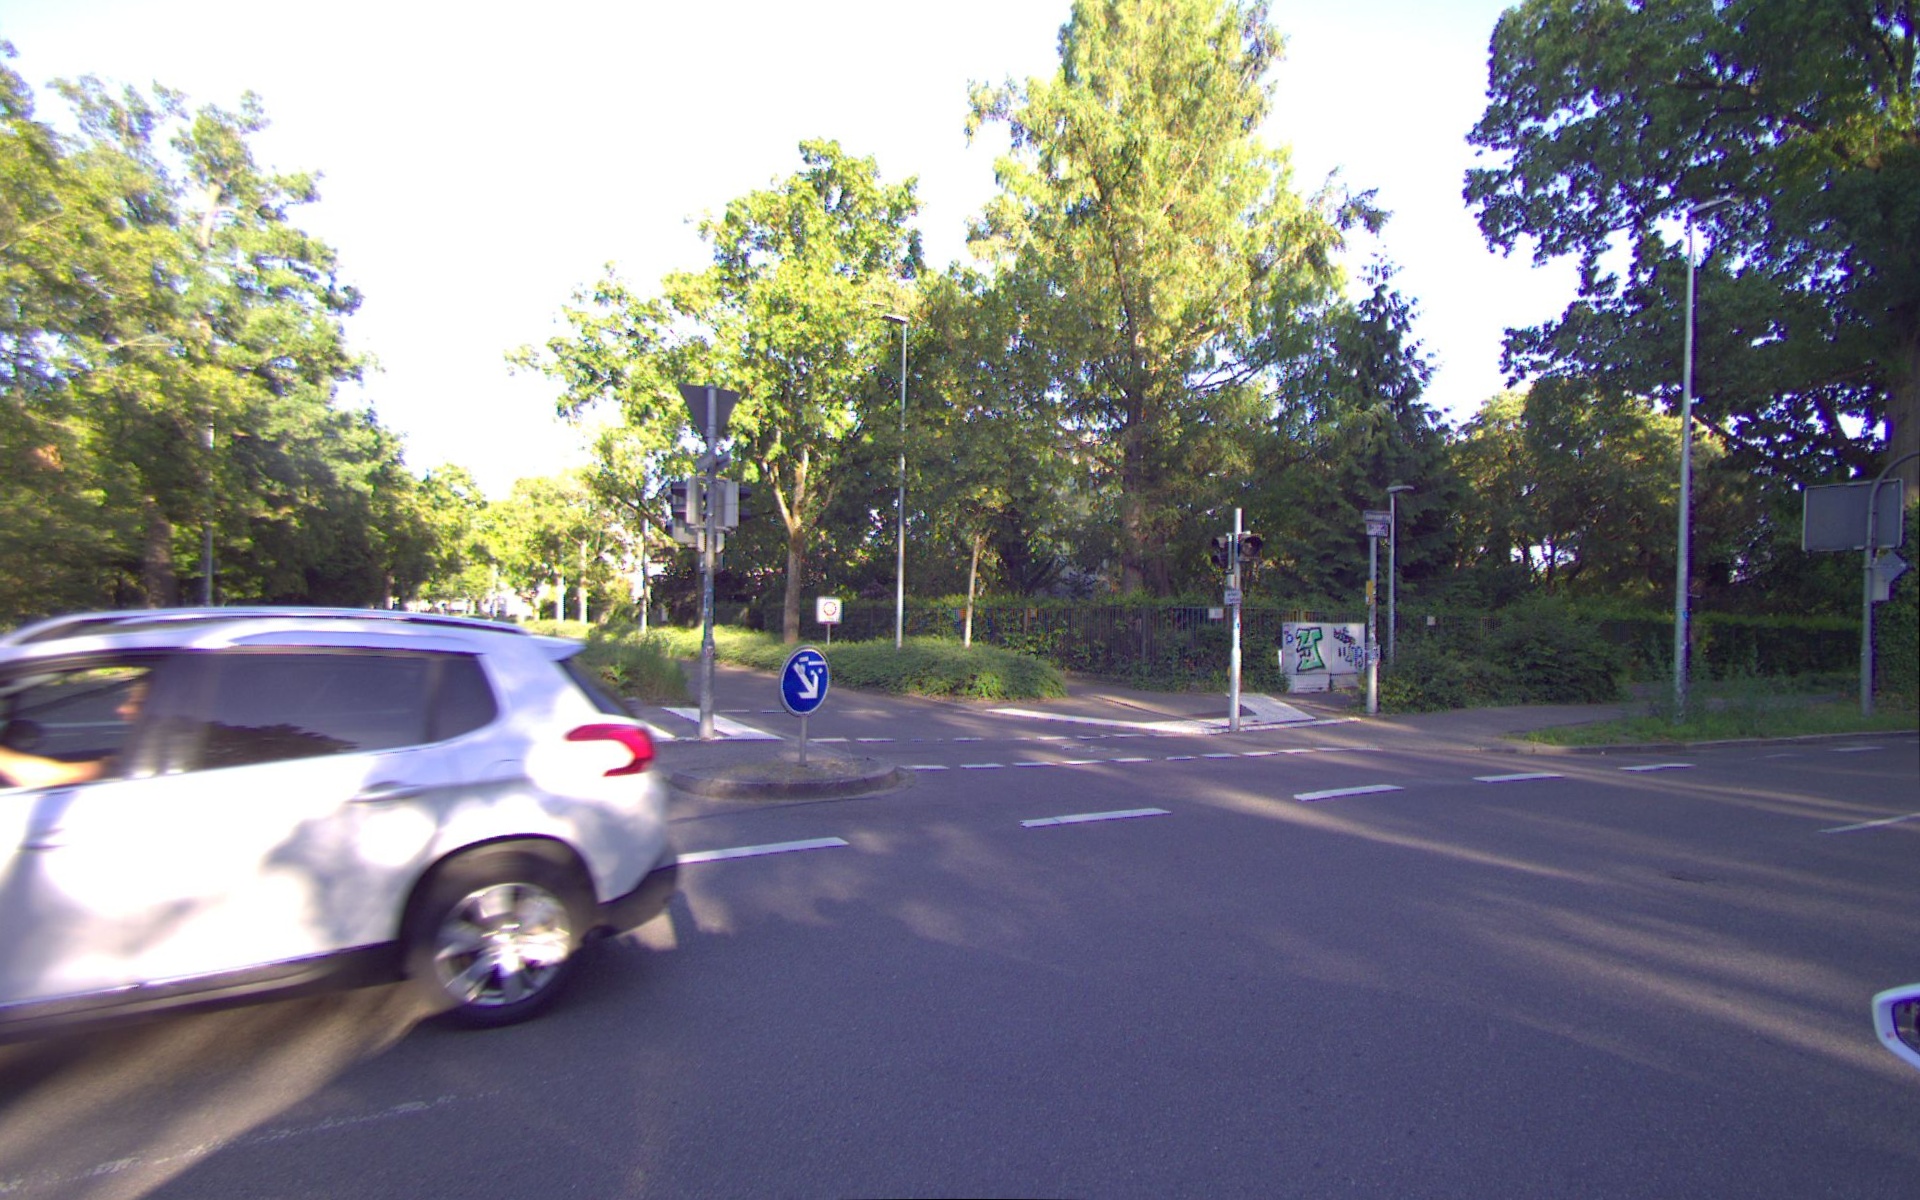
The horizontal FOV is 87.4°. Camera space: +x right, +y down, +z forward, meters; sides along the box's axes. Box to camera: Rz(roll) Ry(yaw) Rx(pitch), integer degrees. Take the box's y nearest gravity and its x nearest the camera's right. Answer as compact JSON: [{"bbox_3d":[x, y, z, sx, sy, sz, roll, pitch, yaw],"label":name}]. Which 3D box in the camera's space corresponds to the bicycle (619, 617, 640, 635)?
[{"bbox_3d":[-22.983,1.816,69.907,0.869,1.216,2.324,0,0,-5],"label":"bicycle"}]

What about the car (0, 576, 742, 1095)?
[{"bbox_3d":[-2.978,0.746,3.906,3.855,1.543,1.670,2,-3,-30],"label":"car"}]
